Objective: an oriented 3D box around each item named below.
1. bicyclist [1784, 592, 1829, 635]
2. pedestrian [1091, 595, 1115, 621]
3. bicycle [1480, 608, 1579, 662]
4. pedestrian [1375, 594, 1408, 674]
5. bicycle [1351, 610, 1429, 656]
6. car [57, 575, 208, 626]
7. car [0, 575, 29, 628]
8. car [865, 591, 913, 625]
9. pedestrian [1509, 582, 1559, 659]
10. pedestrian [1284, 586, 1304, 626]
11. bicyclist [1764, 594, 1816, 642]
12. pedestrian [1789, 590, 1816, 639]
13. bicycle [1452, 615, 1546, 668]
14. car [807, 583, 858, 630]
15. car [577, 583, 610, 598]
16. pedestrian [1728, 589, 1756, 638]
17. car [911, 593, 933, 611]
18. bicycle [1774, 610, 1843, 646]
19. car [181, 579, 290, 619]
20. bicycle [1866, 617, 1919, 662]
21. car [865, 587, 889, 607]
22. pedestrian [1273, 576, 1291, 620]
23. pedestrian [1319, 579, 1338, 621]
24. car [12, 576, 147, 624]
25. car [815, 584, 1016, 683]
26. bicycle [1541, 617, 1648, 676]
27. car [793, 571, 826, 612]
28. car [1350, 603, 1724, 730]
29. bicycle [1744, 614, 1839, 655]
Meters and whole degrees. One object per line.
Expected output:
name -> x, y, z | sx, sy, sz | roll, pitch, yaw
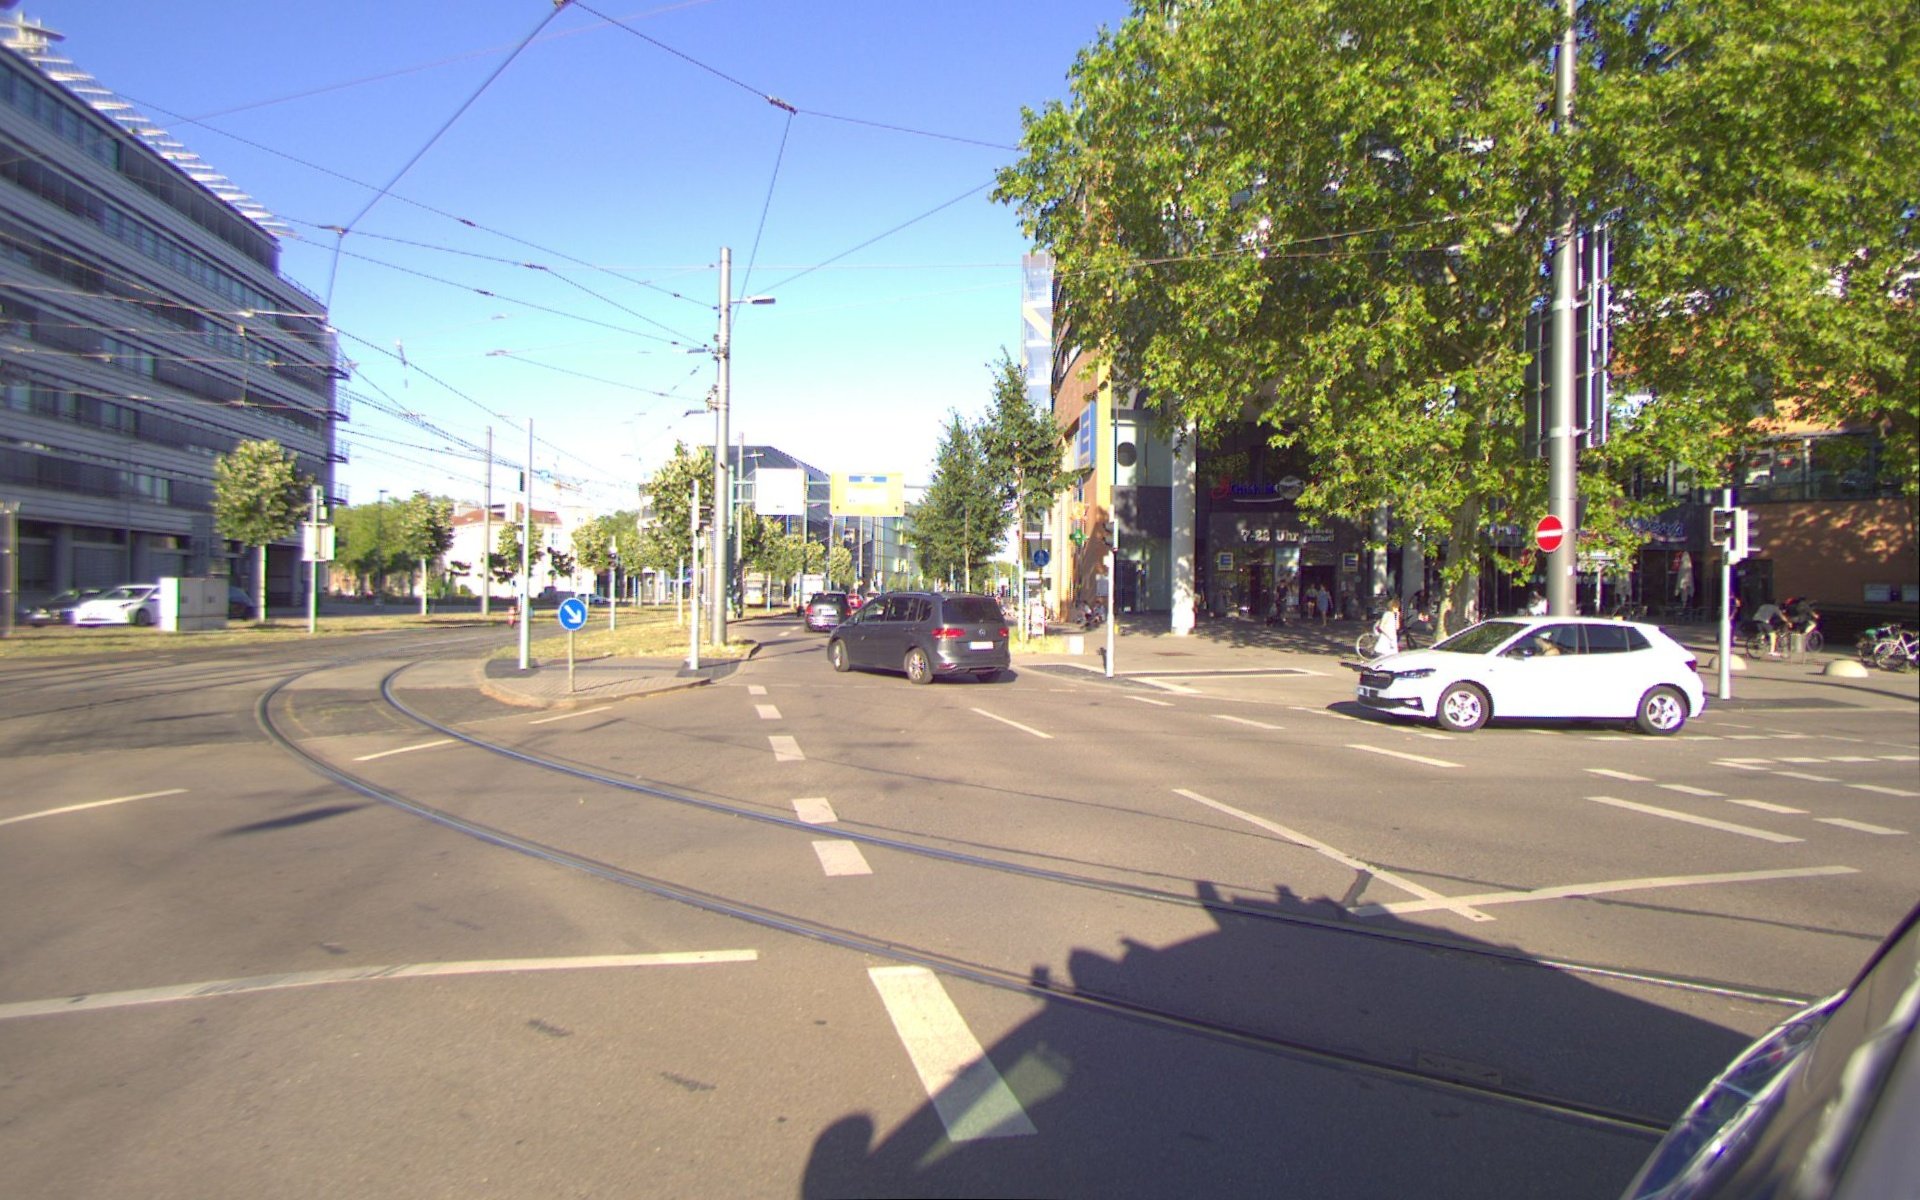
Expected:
bicyclist -> 26.654, 0.430, 31.866 | 0.938, 1.316, 0.676 | 1, 0, -17
pedestrian -> 6.228, 0.360, 44.089 | 0.760, 1.094, 0.683 | 1, 0, -18
bicycle -> 12.650, 0.772, 22.498 | 1.805, 1.143, 0.777 | 1, 0, -10
pedestrian -> 8.601, 0.662, 20.149 | 0.566, 1.557, 0.480 | 1, 0, 25
bicycle -> 10.416, 0.792, 24.529 | 1.665, 1.049, 0.549 | 1, 0, -6
car -> -28.470, 0.026, 35.014 | 1.868, 1.642, 4.172 | 1, -1, -1
car -> -30.768, 0.027, 30.357 | 1.868, 1.642, 4.172 | 1, -1, -1
car -> -3.682, 0.392, 52.033 | 1.826, 1.653, 4.271 | 1, 0, -12
pedestrian -> 13.638, 0.474, 24.058 | 0.881, 1.788, 0.727 | 1, -1, 18
pedestrian -> 14.219, 0.257, 43.123 | 0.582, 1.677, 0.561 | 1, 0, -40
bicyclist -> 24.042, 0.516, 29.327 | 0.947, 1.361, 0.670 | 1, 0, 21
pedestrian -> 29.475, 0.502, 35.407 | 0.537, 1.690, 0.566 | 1, 0, 23
bicycle -> 12.427, 0.951, 23.354 | 1.805, 1.143, 0.777 | 1, 0, -10
car -> -4.994, 0.238, 39.254 | 1.827, 1.653, 4.269 | 1, 0, -9
car -> -48.977, -1.263, 135.293 | 3.917, 1.883, 2.003 | 1, 0, -25
pedestrian -> 27.360, 0.474, 35.408 | 0.561, 1.690, 0.542 | 1, 0, 8
car -> -3.711, 0.176, 99.077 | 1.760, 1.614, 3.997 | 1, 0, 3
bicycle -> 26.738, 0.877, 31.894 | 1.972, 1.081, 0.697 | 1, 0, -18
car -> -31.738, -0.039, 44.493 | 1.868, 1.642, 4.172 | 1, -1, -1
bicycle -> 24.087, 1.001, 25.501 | 1.907, 1.077, 0.784 | 1, 0, -6
car -> -8.668, -0.277, 106.284 | 1.586, 2.039, 3.875 | 1, 0, 10
pedestrian -> 13.074, -0.080, 41.087 | 0.586, 1.777, 0.590 | 1, 0, 24
pedestrian -> 14.800, -0.012, 40.678 | 0.586, 1.677, 0.591 | 1, 0, 12
car -> -31.479, -0.020, 36.345 | 1.596, 1.616, 4.004 | 1, 0, -5
car -> -0.943, 0.563, 18.980 | 1.589, 1.623, 4.172 | 3, -1, -38
bicycle -> 13.059, 0.943, 20.844 | 1.805, 1.143, 0.777 | 1, 0, -10
car -> -9.738, -0.523, 65.469 | 1.959, 2.512, 5.982 | 1, -1, -8
car -> 7.368, 0.817, 13.166 | 3.922, 1.470, 1.636 | 1, 0, -2
bicycle -> 24.057, 0.984, 29.313 | 1.990, 1.081, 0.691 | 2, 0, 21
